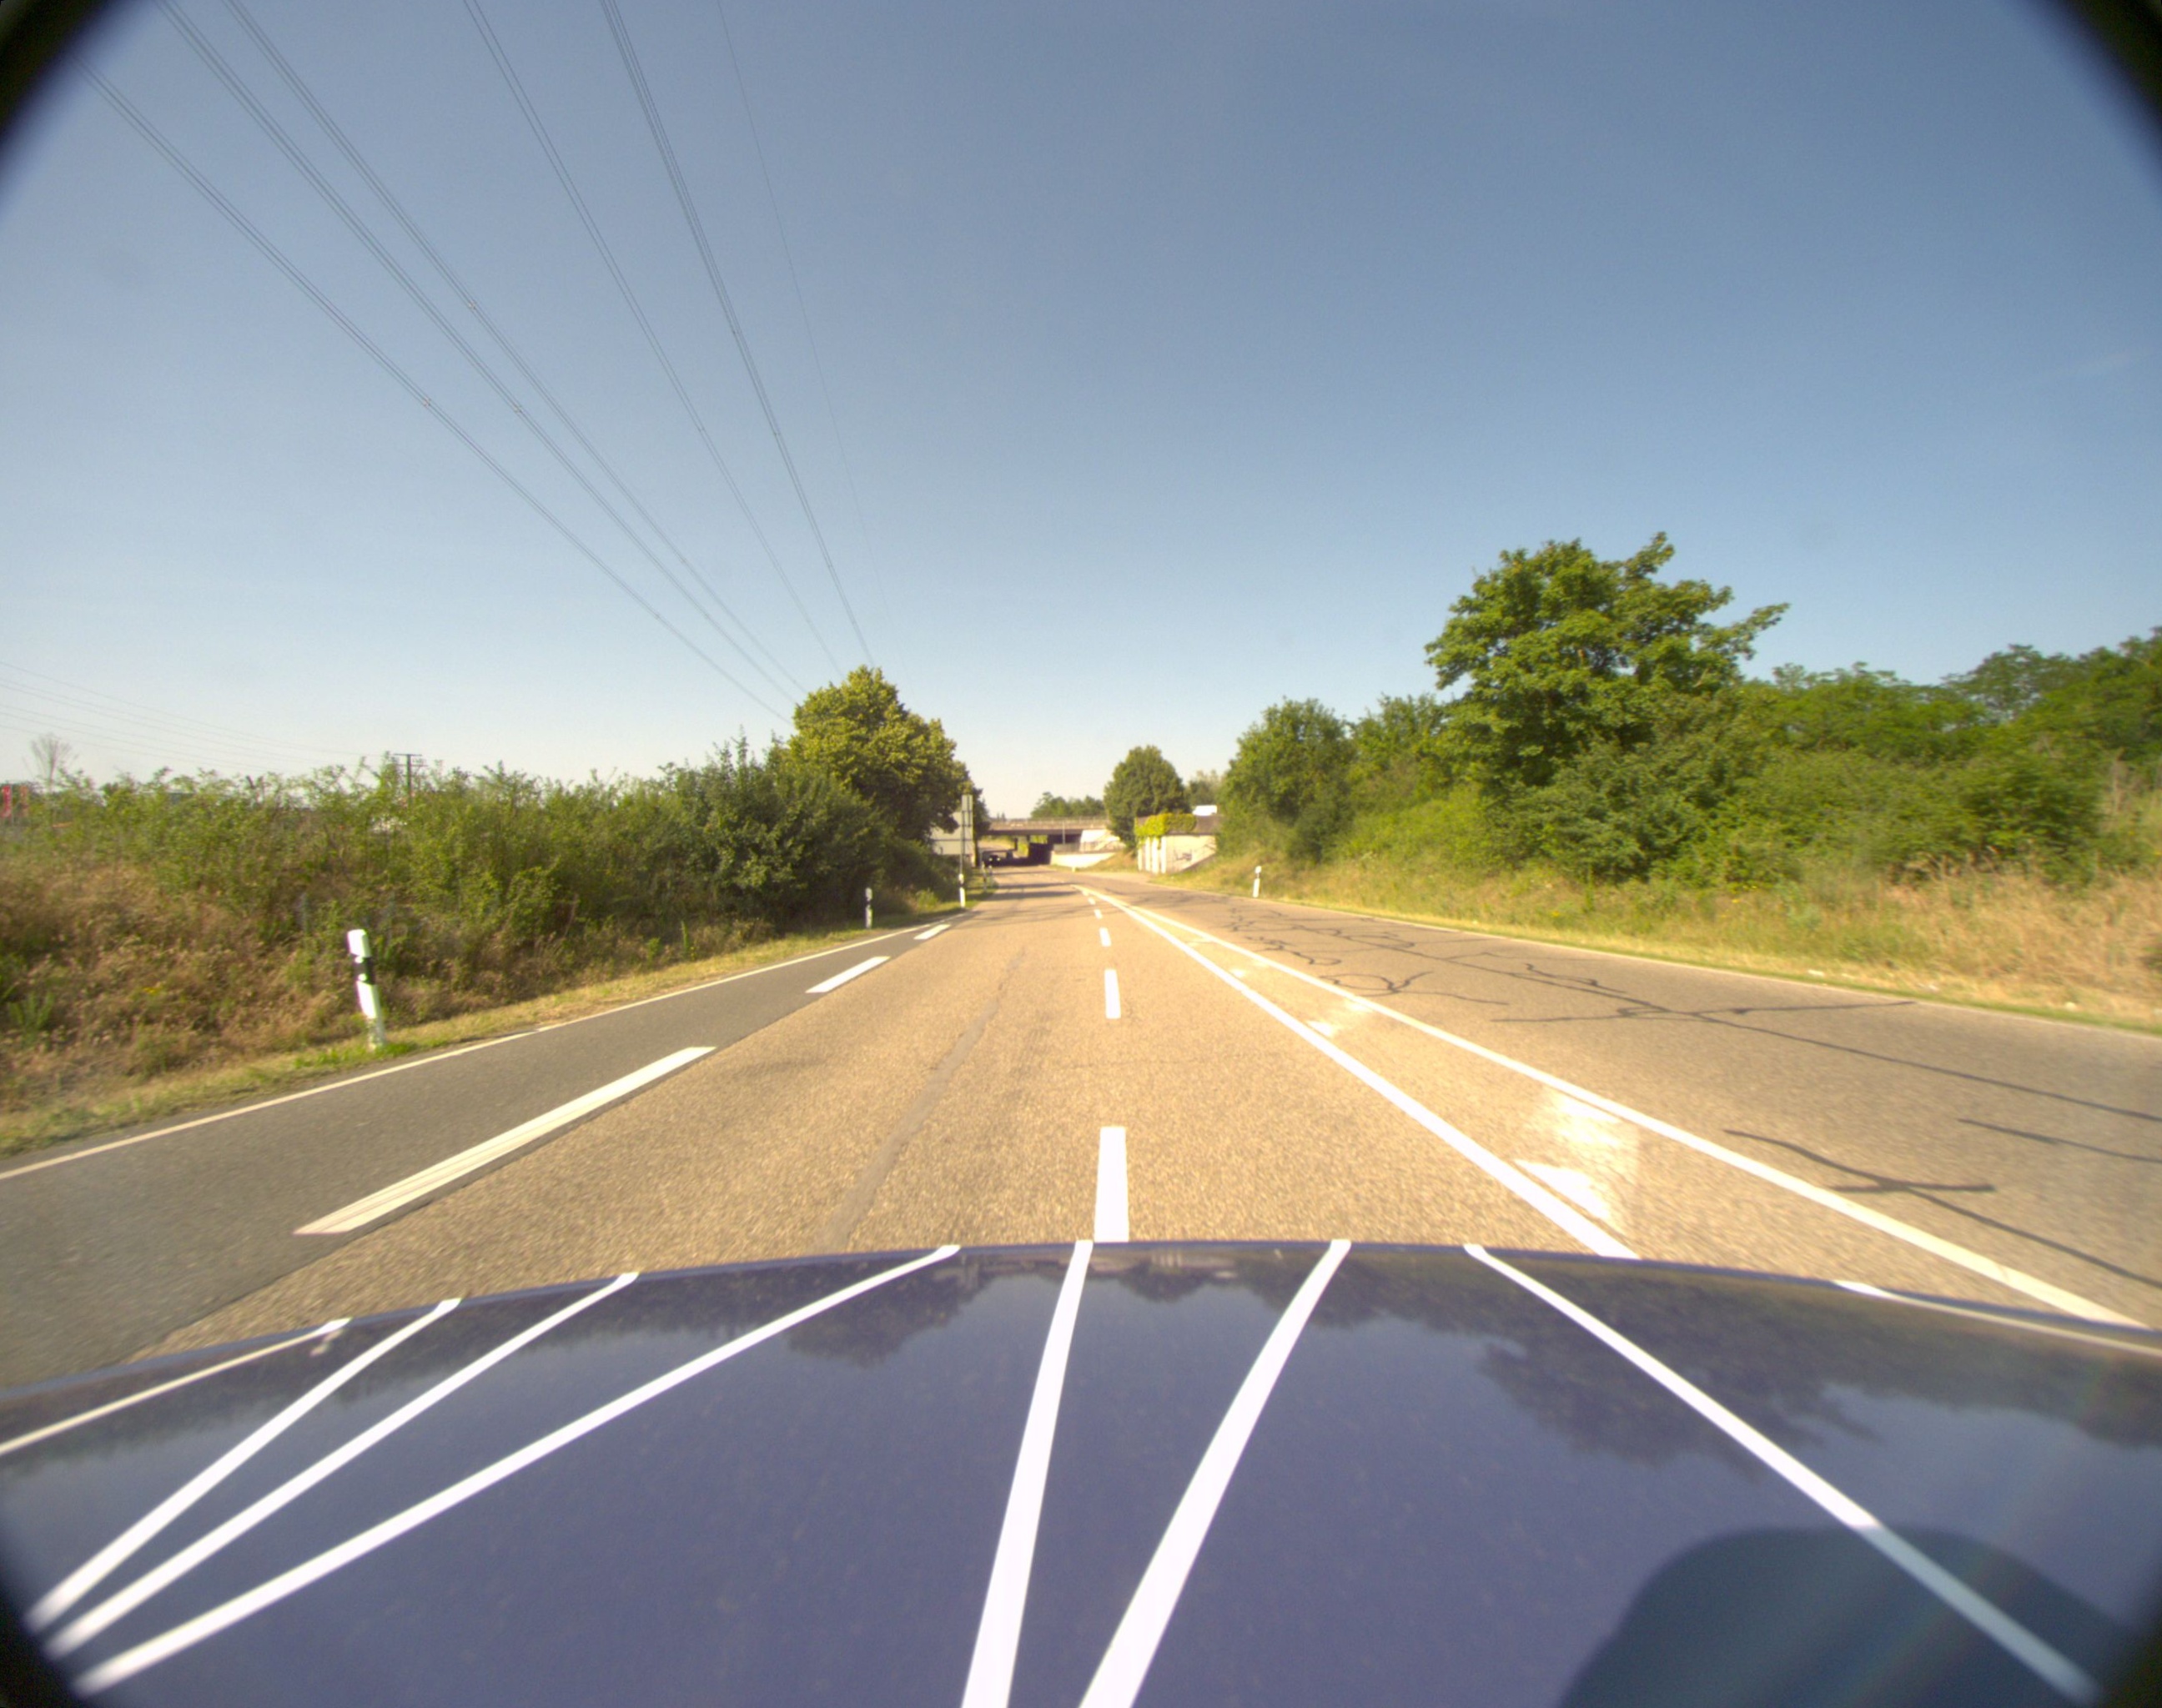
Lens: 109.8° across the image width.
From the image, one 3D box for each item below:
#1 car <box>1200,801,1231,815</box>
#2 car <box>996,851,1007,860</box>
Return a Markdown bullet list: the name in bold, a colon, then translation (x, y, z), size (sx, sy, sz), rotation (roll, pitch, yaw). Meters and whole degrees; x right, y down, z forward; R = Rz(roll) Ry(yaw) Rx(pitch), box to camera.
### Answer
- **car**: translation (21.385, -7.314, 120.738), size (4.327, 1.889, 1.748), rotation (-2, 1, 29)
- **car**: translation (-14.373, 0.273, 137.581), size (1.861, 1.609, 3.645), rotation (-1, 0, -9)
